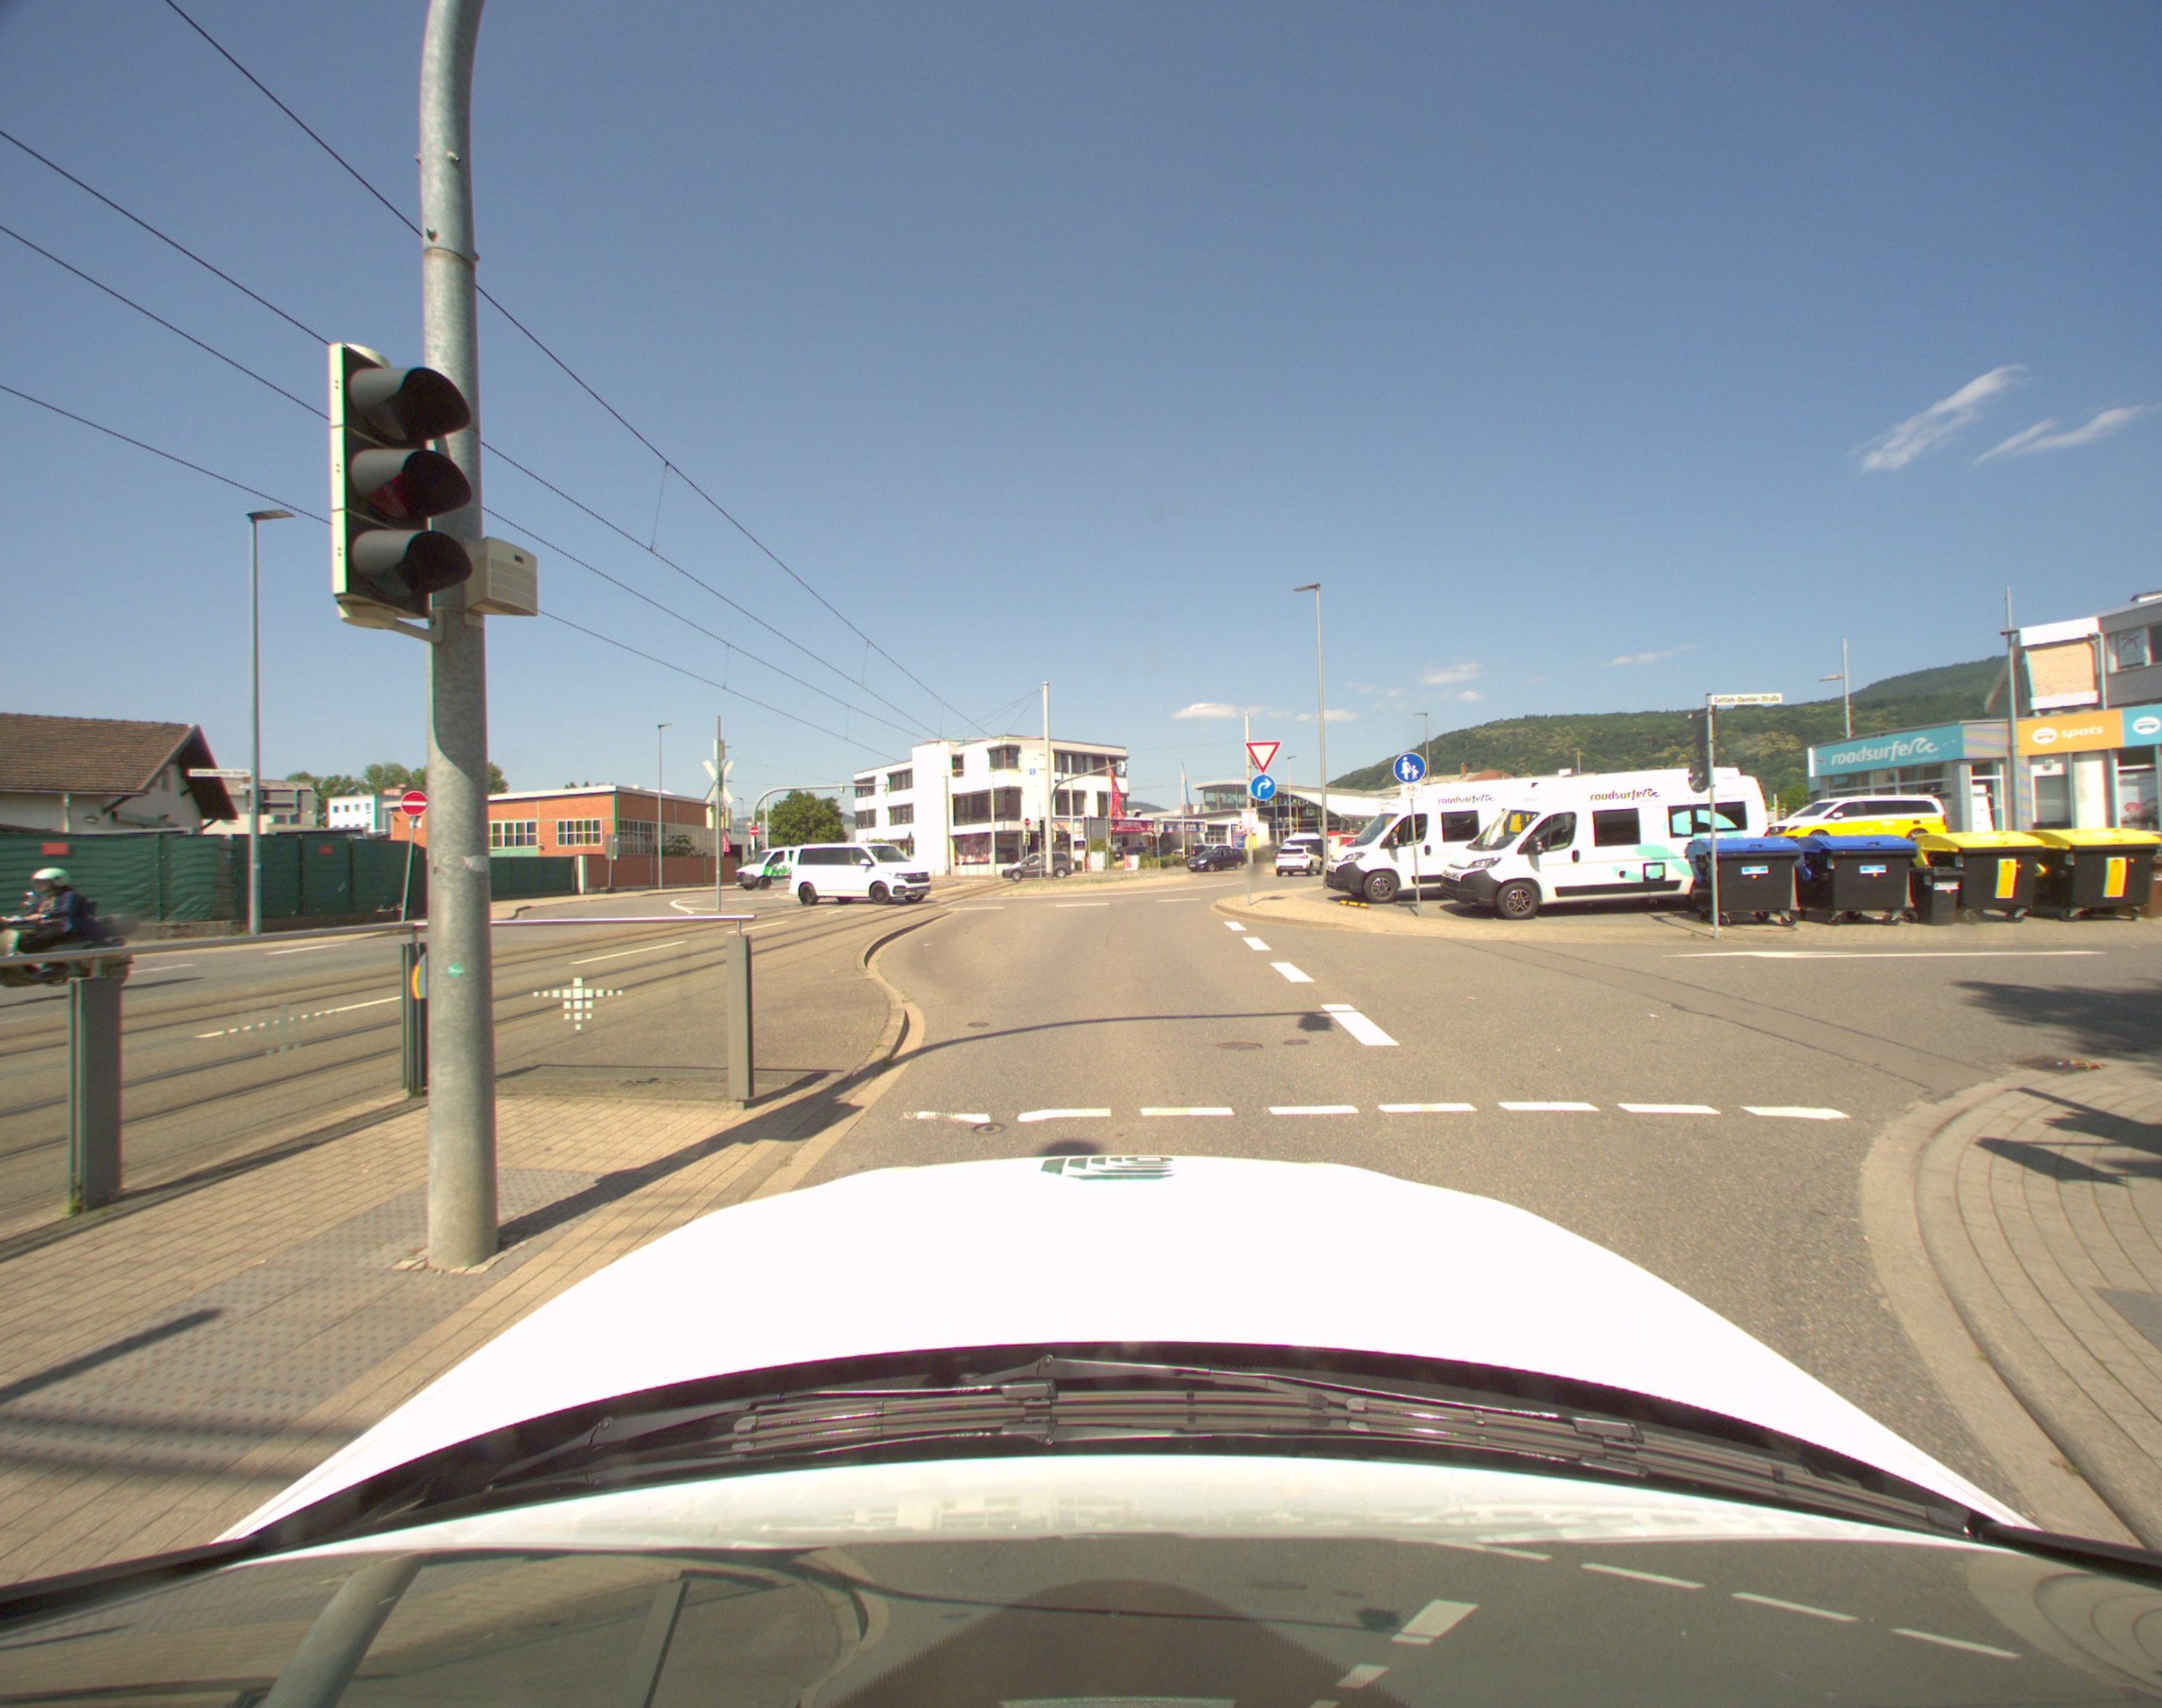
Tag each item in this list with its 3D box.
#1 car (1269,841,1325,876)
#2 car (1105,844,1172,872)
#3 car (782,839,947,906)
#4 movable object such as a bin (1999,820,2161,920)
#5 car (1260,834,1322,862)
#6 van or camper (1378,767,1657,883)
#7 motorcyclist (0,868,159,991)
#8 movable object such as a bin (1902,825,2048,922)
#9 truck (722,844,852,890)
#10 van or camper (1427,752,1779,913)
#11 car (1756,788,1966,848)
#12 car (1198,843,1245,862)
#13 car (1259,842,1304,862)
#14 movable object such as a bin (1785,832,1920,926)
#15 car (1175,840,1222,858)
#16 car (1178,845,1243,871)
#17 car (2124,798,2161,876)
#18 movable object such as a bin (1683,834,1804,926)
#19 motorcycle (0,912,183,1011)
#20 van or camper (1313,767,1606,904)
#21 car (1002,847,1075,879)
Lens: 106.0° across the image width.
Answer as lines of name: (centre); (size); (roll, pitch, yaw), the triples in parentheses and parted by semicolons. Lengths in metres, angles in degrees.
car: (11.704, 0.211, 43.886); (1.975, 1.733, 4.591); (-2, 0, 27)
car: (4.494, 0.275, 62.799); (5.309, 1.965, 1.942); (-2, 0, -41)
car: (-7.041, 0.591, 26.419); (4.954, 2.013, 2.182); (-2, 0, 27)
movable object such as a bin: (16.126, 0.234, 13.170); (1.322, 1.531, 1.067); (-2, 2, 10)
car: (15.586, -0.427, 60.328); (4.662, 1.910, 2.074); (-2, 1, -39)
van or camper: (13.023, -0.826, 24.701); (7.034, 2.946, 2.336); (-3, -1, 2)
motorcyclist: (-12.923, 0.942, 10.545); (0.832, 1.475, 0.963); (-2, 0, 1)
movable object such as a bin: (14.460, 0.291, 13.216); (1.228, 1.475, 1.023); (-2, 2, 10)
truck: (-16.289, 0.666, 45.366); (6.424, 2.337, 2.183); (-2, 0, -42)
van or camper: (9.963, -0.404, 15.965); (5.478, 2.814, 2.052); (-1, 2, 6)
car: (28.897, -1.291, 30.369); (5.422, 2.013, 2.142); (-2, 0, 7)
car: (13.681, -0.152, 79.204); (4.957, 1.589, 1.863); (-2, -2, -45)
car: (17.707, -0.181, 71.853); (4.023, 1.618, 1.975); (-2, 0, -44)
movable object such as a bin: (12.664, 0.388, 13.427); (1.277, 1.457, 1.023); (-2, 2, 13)
car: (10.565, -0.458, 73.045); (2.008, 1.427, 4.342); (-2, 0, 45)
car: (8.711, 0.278, 54.616); (4.264, 1.556, 1.947); (-3, 0, -39)
car: (23.220, -0.373, 15.744); (3.872, 1.515, 1.816); (-2, 2, -1)
movable object such as a bin: (11.131, 0.416, 13.743); (1.244, 1.456, 1.083); (-2, 2, 14)
motorcycle: (-12.907, 1.319, 10.324); (0.819, 1.011, 1.965); (-2, 0, 2)
van or camper: (8.609, -0.405, 19.000); (5.783, 2.773, 2.094); (-2, 1, 5)
car: (-2.644, 0.529, 50.614); (4.387, 1.818, 1.987); (-2, 0, -5)
